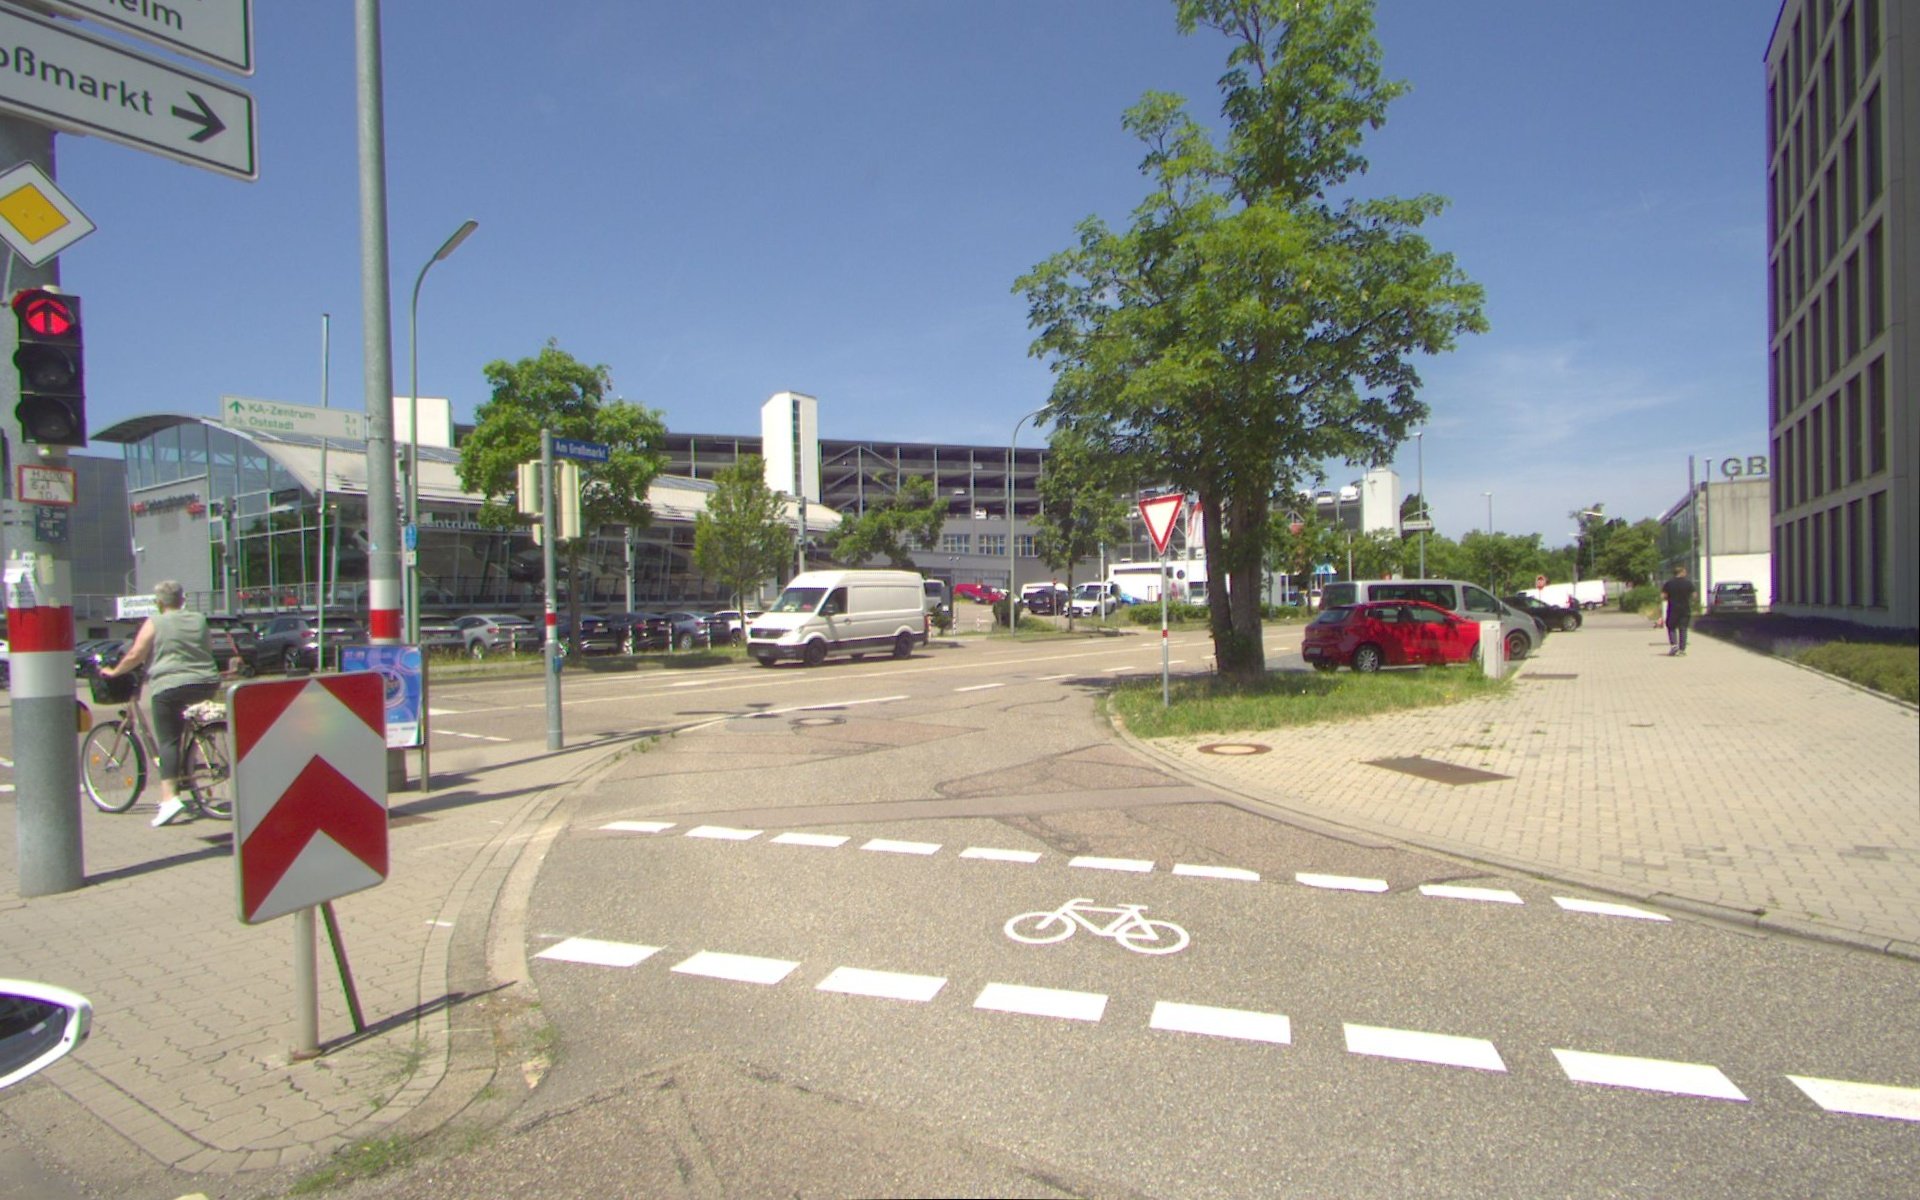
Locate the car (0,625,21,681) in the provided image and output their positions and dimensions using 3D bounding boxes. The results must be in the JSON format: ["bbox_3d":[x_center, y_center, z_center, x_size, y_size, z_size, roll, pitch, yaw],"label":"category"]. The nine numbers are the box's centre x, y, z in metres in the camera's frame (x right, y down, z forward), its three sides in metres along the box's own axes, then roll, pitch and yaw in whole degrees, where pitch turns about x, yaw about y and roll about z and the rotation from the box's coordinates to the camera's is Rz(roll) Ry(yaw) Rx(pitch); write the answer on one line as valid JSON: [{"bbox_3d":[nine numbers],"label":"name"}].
[{"bbox_3d":[-27.383,1.458,25.510,1.973,1.476,4.729,-2,-1,34],"label":"car"}]

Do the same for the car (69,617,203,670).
[{"bbox_3d":[-34.903,1.815,42.524,1.972,2.040,3.977,-1,0,33],"label":"car"}]

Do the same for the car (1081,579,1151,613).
[{"bbox_3d":[9.853,-0.246,63.154,3.943,2.040,1.840,-1,0,32],"label":"car"}]

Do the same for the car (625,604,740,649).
[{"bbox_3d":[-10.846,0.999,39.054,4.410,1.662,1.823,-1,1,32],"label":"car"}]

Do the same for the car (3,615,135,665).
[{"bbox_3d":[-39.713,1.761,44.714,1.972,2.040,3.977,-1,0,33],"label":"car"}]

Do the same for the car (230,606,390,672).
[{"bbox_3d":[-17.921,1.016,27.552,4.492,1.661,1.989,-1,0,32],"label":"car"}]

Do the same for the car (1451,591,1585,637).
[{"bbox_3d":[21.530,0.554,38.751,4.075,1.558,1.815,-3,-1,2],"label":"car"}]

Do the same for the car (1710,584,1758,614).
[{"bbox_3d":[42.114,-0.045,54.560,1.765,1.542,3.556,-2,0,33],"label":"car"}]

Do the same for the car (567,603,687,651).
[{"bbox_3d":[-12.237,0.984,36.731,4.410,1.661,1.824,-1,-1,32],"label":"car"}]

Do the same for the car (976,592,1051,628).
[{"bbox_3d":[3.135,0.616,59.055,3.943,2.040,1.989,-1,0,32],"label":"car"}]

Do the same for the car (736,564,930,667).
[{"bbox_3d":[-3.382,0.402,28.078,2.074,2.567,5.765,0,0,35],"label":"car"}]

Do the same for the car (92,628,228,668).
[{"bbox_3d":[-32.928,1.925,41.327,1.694,1.480,4.083,0,0,33],"label":"car"}]

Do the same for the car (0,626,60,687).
[{"bbox_3d":[-25.089,1.417,24.118,1.973,1.476,4.729,0,0,34],"label":"car"}]

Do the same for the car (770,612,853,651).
[{"bbox_3d":[-7.346,1.516,49.583,3.659,1.801,1.739,-1,0,-31],"label":"car"}]

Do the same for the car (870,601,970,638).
[{"bbox_3d":[-1.927,0.908,48.981,4.702,1.662,1.821,-1,1,-35],"label":"car"}]

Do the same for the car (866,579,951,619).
[{"bbox_3d":[-2.699,-0.068,53.991,1.972,2.040,5.117,-1,0,32],"label":"car"}]

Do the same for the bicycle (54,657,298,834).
[{"bbox_3d":[-5.966,1.031,7.601,1.891,1.142,0.786,0,0,29],"label":"bicycle"}]

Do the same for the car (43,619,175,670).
[{"bbox_3d":[-37.280,1.905,43.958,1.972,2.040,3.977,-1,0,33],"label":"car"}]

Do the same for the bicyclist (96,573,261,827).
[{"bbox_3d":[-5.839,0.711,7.500,0.742,1.772,0.733,0,0,28],"label":"bicyclist"}]

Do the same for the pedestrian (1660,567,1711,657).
[{"bbox_3d":[15.394,0.259,21.248,0.764,1.869,0.861,-2,0,40],"label":"pedestrian"}]

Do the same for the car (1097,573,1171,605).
[{"bbox_3d":[11.939,-0.754,68.825,4.578,2.040,1.989,-1,0,32],"label":"car"}]

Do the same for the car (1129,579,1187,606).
[{"bbox_3d":[15.484,-0.560,78.295,3.945,2.040,1.988,-1,0,34],"label":"car"}]

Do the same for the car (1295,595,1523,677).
[{"bbox_3d":[8.968,0.699,20.123,3.924,1.454,1.609,-2,0,-8],"label":"car"}]

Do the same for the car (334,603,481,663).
[{"bbox_3d":[-16.638,0.959,30.114,4.377,1.661,1.989,-1,1,32],"label":"car"}]

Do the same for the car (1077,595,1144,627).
[{"bbox_3d":[10.040,0.759,66.694,3.943,2.040,1.989,-1,0,32],"label":"car"}]

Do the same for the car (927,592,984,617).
[{"bbox_3d":[-0.341,0.330,74.356,3.943,1.810,1.730,-1,0,32],"label":"car"}]

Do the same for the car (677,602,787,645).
[{"bbox_3d":[-9.423,0.961,41.304,4.410,1.662,1.823,-1,1,32],"label":"car"}]

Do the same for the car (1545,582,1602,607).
[{"bbox_3d":[55.229,-0.515,90.173,4.304,2.149,2.080,-1,0,36],"label":"car"}]

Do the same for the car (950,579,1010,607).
[{"bbox_3d":[1.555,-0.520,77.771,4.286,2.040,1.990,-1,0,30],"label":"car"}]

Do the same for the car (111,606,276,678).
[{"bbox_3d":[-19.419,1.008,25.339,4.207,1.661,1.989,-1,0,32],"label":"car"}]

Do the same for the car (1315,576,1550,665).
[{"bbox_3d":[10.912,0.444,23.225,4.814,1.839,1.704,-2,0,-10],"label":"car"}]

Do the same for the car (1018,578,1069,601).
[{"bbox_3d":[7.695,-0.935,92.025,4.257,2.040,1.989,-1,0,32],"label":"car"}]

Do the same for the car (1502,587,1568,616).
[{"bbox_3d":[41.671,0.132,72.538,3.949,2.040,1.986,-1,0,37],"label":"car"}]

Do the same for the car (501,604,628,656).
[{"bbox_3d":[-13.622,0.996,34.429,4.410,1.662,1.823,-1,1,32],"label":"car"}]

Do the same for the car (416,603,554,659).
[{"bbox_3d":[-15.235,0.957,32.076,4.460,1.661,1.881,-1,1,32],"label":"car"}]
